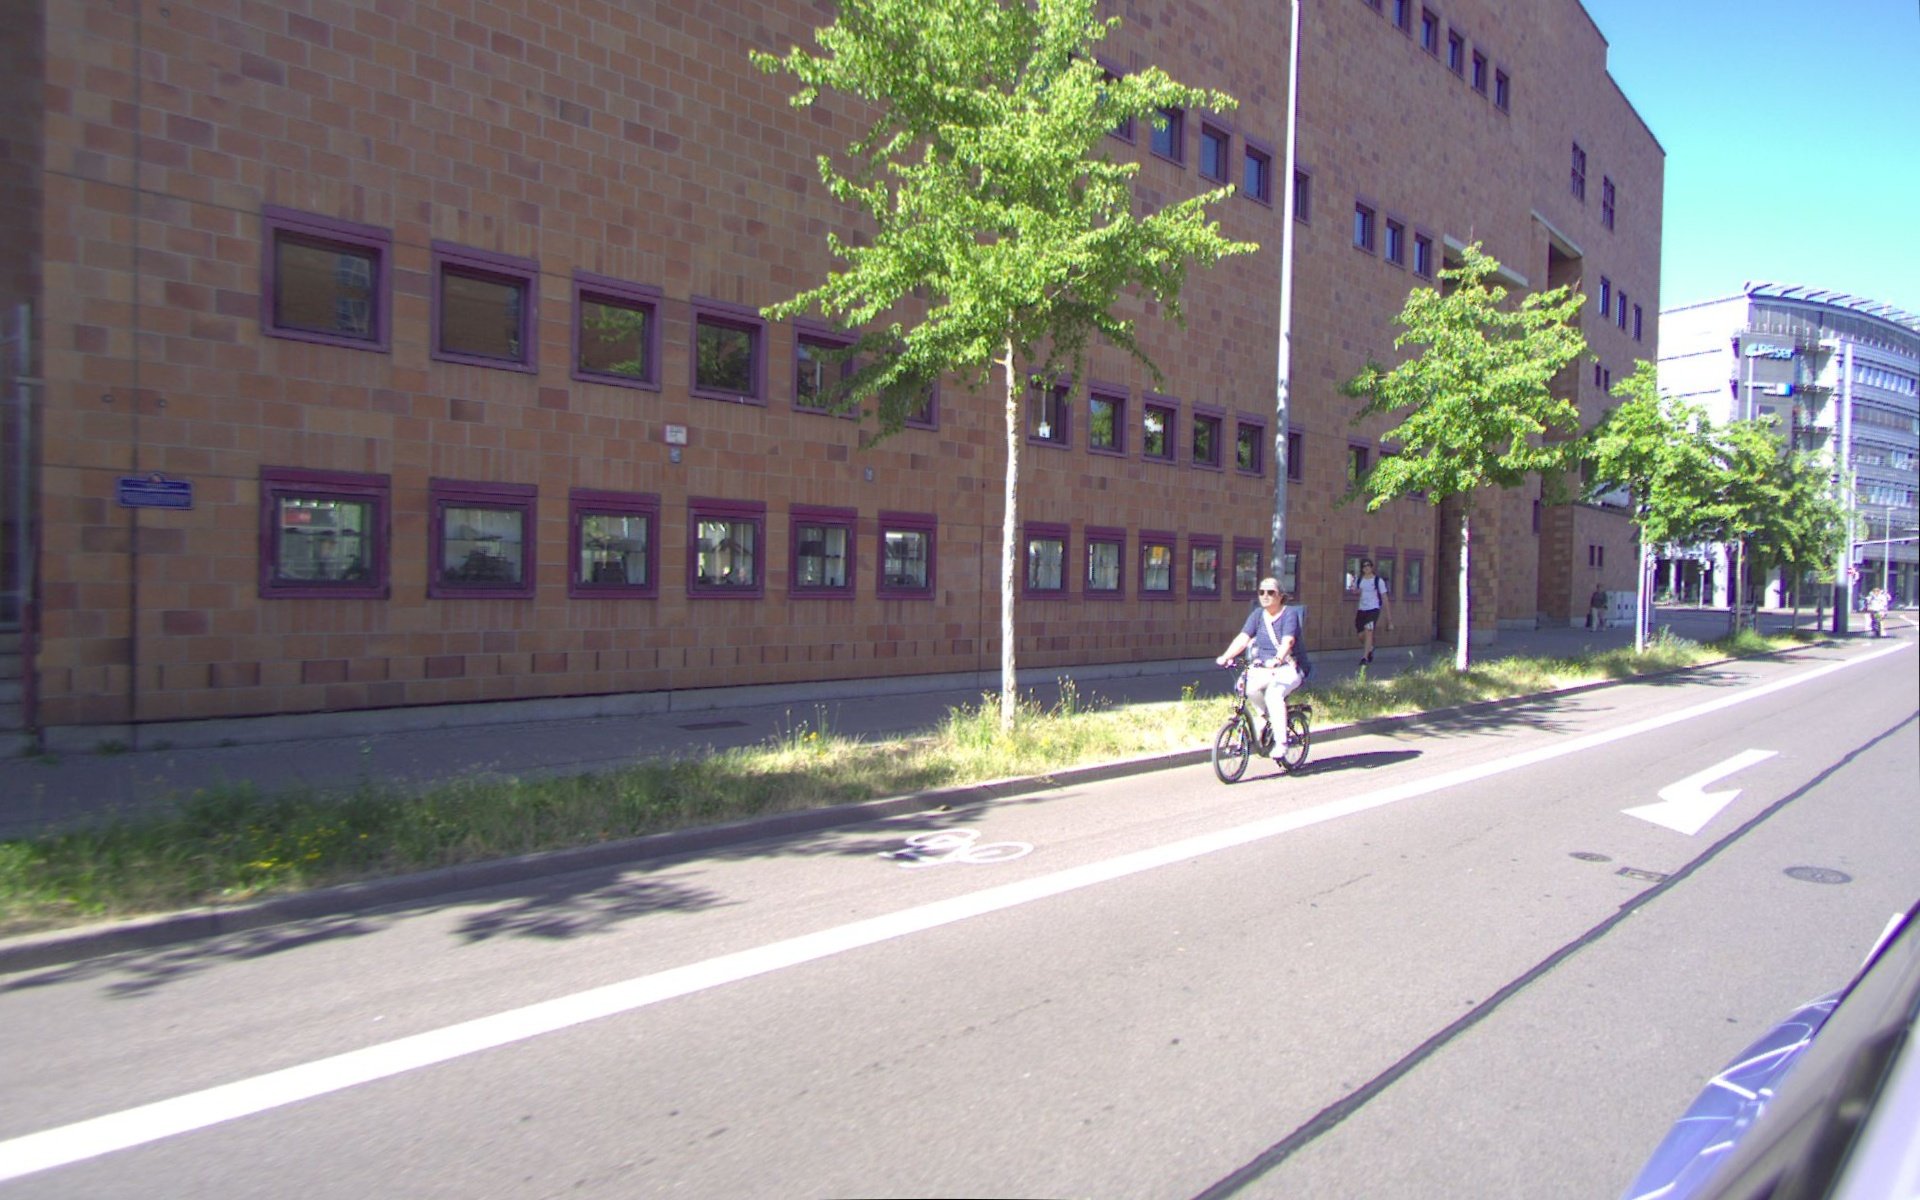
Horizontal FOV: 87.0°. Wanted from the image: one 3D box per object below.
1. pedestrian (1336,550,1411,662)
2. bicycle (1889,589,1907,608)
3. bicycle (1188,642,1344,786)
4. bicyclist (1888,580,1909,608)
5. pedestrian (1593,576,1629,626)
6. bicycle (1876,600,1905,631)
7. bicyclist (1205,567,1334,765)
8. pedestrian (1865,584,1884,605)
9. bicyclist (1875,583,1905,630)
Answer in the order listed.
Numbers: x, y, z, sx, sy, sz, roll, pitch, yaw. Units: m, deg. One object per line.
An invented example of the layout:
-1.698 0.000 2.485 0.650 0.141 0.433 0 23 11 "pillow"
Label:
7.357 0.085 18.003 1.087 1.906 0.789 0 2 -41 "pedestrian"
55.192 -0.076 59.533 1.480 1.110 0.578 0 0 -38 "bicycle"
2.582 0.902 8.472 1.481 1.040 0.558 0 0 -42 "bicycle"
55.189 -0.361 59.521 0.748 1.637 0.755 0 0 -38 "bicyclist"
22.147 0.018 34.407 0.960 1.639 0.789 0 2 -43 "pedestrian"
34.777 0.576 37.814 1.480 1.110 0.578 0 0 -39 "bicycle"
2.603 0.514 8.505 0.893 1.557 0.658 0 0 -41 "bicyclist"
72.868 -0.443 80.662 0.784 1.708 0.862 0 2 -28 "pedestrian"
34.711 0.231 37.762 0.893 1.750 0.684 0 -1 -39 "bicyclist"
